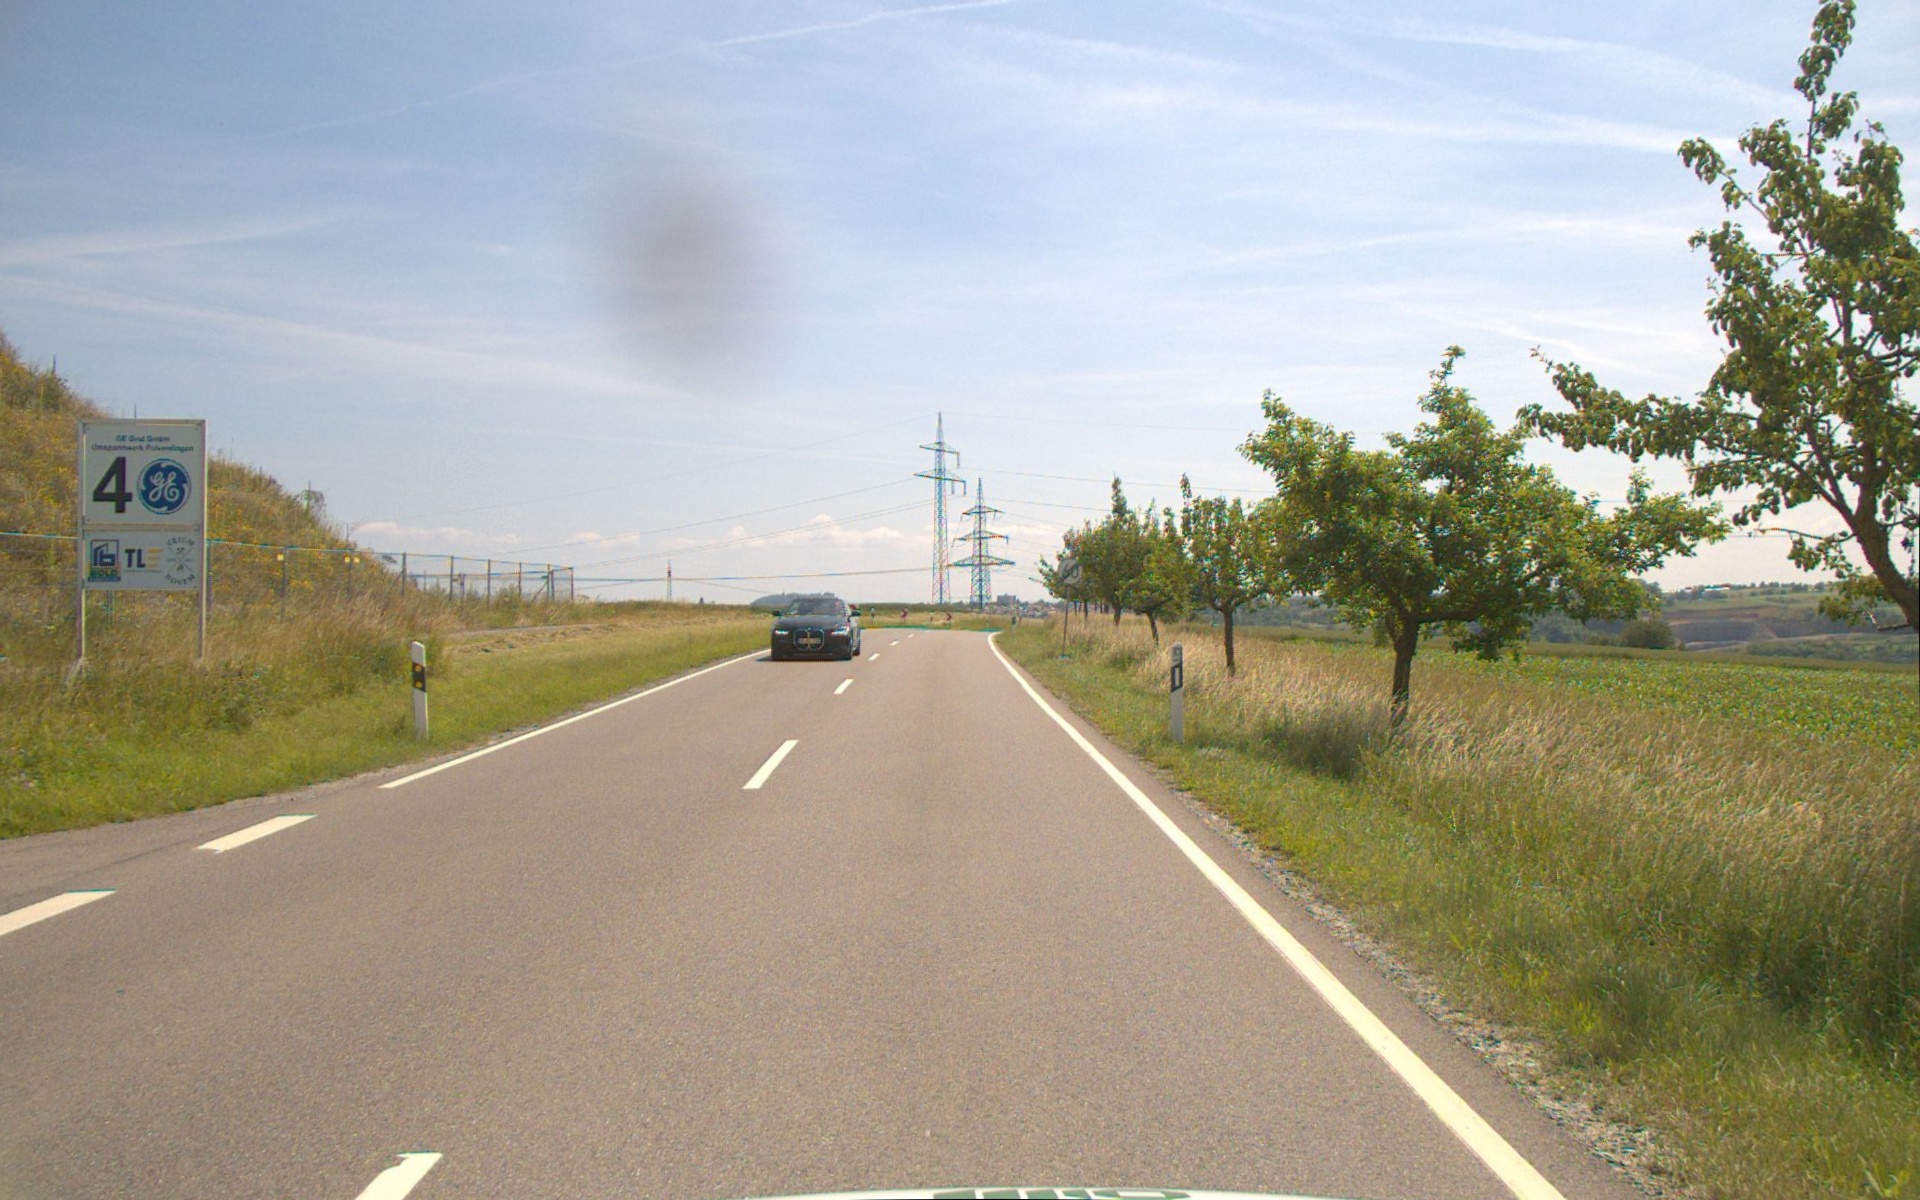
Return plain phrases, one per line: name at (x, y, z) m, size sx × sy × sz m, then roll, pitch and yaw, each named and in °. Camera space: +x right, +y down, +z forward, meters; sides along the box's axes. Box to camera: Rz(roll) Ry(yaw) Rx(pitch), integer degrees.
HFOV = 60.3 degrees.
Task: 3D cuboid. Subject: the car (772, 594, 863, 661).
car at (-3.205, 0.587, 37.775) m, size 1.785 × 1.435 × 3.999 m, roll 0°, pitch 0°, yaw -1°
